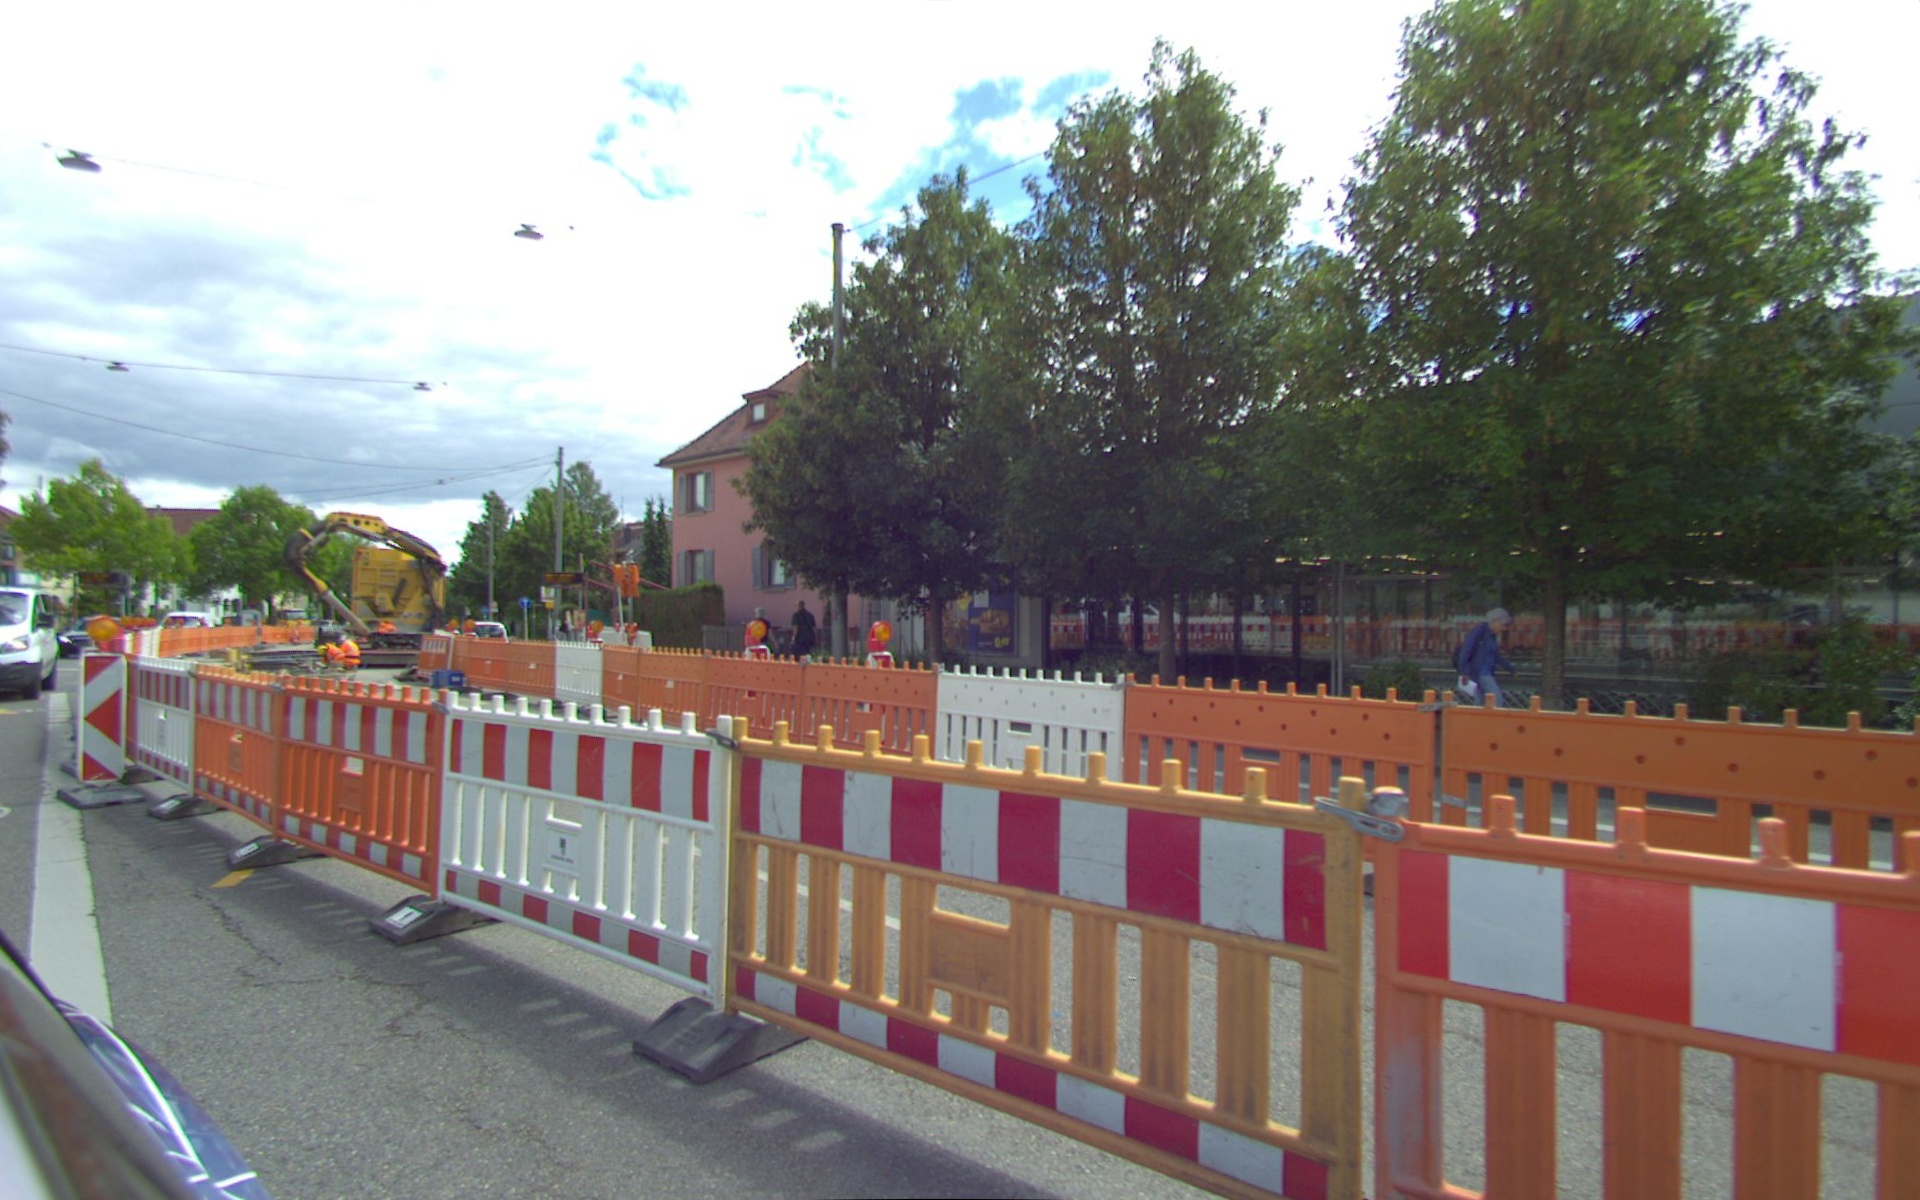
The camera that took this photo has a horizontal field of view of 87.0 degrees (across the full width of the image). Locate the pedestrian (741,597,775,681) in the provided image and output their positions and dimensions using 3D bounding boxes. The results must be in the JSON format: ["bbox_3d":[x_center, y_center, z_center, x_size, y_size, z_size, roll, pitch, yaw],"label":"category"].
[{"bbox_3d":[-4.564,0.864,22.832,0.685,1.861,0.624,1,-1,-17],"label":"pedestrian"}]

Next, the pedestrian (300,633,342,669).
[{"bbox_3d":[-17.947,1.436,28.441,0.779,0.998,0.814,1,-2,-17],"label":"pedestrian"}]

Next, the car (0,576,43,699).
[{"bbox_3d":[-18.003,0.644,18.312,1.970,2.029,5.518,0,0,-43],"label":"car"}]

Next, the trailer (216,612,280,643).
[{"bbox_3d":[-55.371,2.145,78.801,2.556,2.262,5.691,-2,-1,-19],"label":"trailer"}]

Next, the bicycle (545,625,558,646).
[{"bbox_3d":[-21.904,1.887,54.236,0.530,1.091,2.138,1,-2,-24],"label":"bicycle"}]

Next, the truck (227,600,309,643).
[{"bbox_3d":[-58.545,1.847,85.617,6.581,3.223,2.327,-4,-3,20],"label":"truck"}]

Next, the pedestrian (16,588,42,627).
[{"bbox_3d":[-39.553,0.330,42.981,0.589,1.594,0.403,-5,3,-27],"label":"pedestrian"}]

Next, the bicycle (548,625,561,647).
[{"bbox_3d":[-20.872,1.839,52.085,0.530,1.091,2.138,1,-2,-24],"label":"bicycle"}]

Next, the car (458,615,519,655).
[{"bbox_3d":[-18.780,1.362,40.237,1.828,1.464,4.012,0,-1,-30],"label":"car"}]

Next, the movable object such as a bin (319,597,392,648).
[{"bbox_3d":[-33.525,1.279,56.365,1.966,2.645,6.542,1,-2,-17],"label":"movable object such as a bin"}]

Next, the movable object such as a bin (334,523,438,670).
[{"bbox_3d":[-19.785,0.033,34.624,2.555,4.253,11.153,2,-2,-31],"label":"movable object such as a bin"}]

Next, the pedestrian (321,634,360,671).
[{"bbox_3d":[-17.013,1.437,27.802,0.633,0.998,0.794,1,-2,-7],"label":"pedestrian"}]

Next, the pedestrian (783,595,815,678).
[{"bbox_3d":[-3.682,0.832,23.113,0.616,1.861,0.624,1,-1,-17],"label":"pedestrian"}]

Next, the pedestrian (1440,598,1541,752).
[{"bbox_3d":[5.862,0.803,11.191,0.830,1.615,0.744,-1,-2,42],"label":"pedestrian"}]
